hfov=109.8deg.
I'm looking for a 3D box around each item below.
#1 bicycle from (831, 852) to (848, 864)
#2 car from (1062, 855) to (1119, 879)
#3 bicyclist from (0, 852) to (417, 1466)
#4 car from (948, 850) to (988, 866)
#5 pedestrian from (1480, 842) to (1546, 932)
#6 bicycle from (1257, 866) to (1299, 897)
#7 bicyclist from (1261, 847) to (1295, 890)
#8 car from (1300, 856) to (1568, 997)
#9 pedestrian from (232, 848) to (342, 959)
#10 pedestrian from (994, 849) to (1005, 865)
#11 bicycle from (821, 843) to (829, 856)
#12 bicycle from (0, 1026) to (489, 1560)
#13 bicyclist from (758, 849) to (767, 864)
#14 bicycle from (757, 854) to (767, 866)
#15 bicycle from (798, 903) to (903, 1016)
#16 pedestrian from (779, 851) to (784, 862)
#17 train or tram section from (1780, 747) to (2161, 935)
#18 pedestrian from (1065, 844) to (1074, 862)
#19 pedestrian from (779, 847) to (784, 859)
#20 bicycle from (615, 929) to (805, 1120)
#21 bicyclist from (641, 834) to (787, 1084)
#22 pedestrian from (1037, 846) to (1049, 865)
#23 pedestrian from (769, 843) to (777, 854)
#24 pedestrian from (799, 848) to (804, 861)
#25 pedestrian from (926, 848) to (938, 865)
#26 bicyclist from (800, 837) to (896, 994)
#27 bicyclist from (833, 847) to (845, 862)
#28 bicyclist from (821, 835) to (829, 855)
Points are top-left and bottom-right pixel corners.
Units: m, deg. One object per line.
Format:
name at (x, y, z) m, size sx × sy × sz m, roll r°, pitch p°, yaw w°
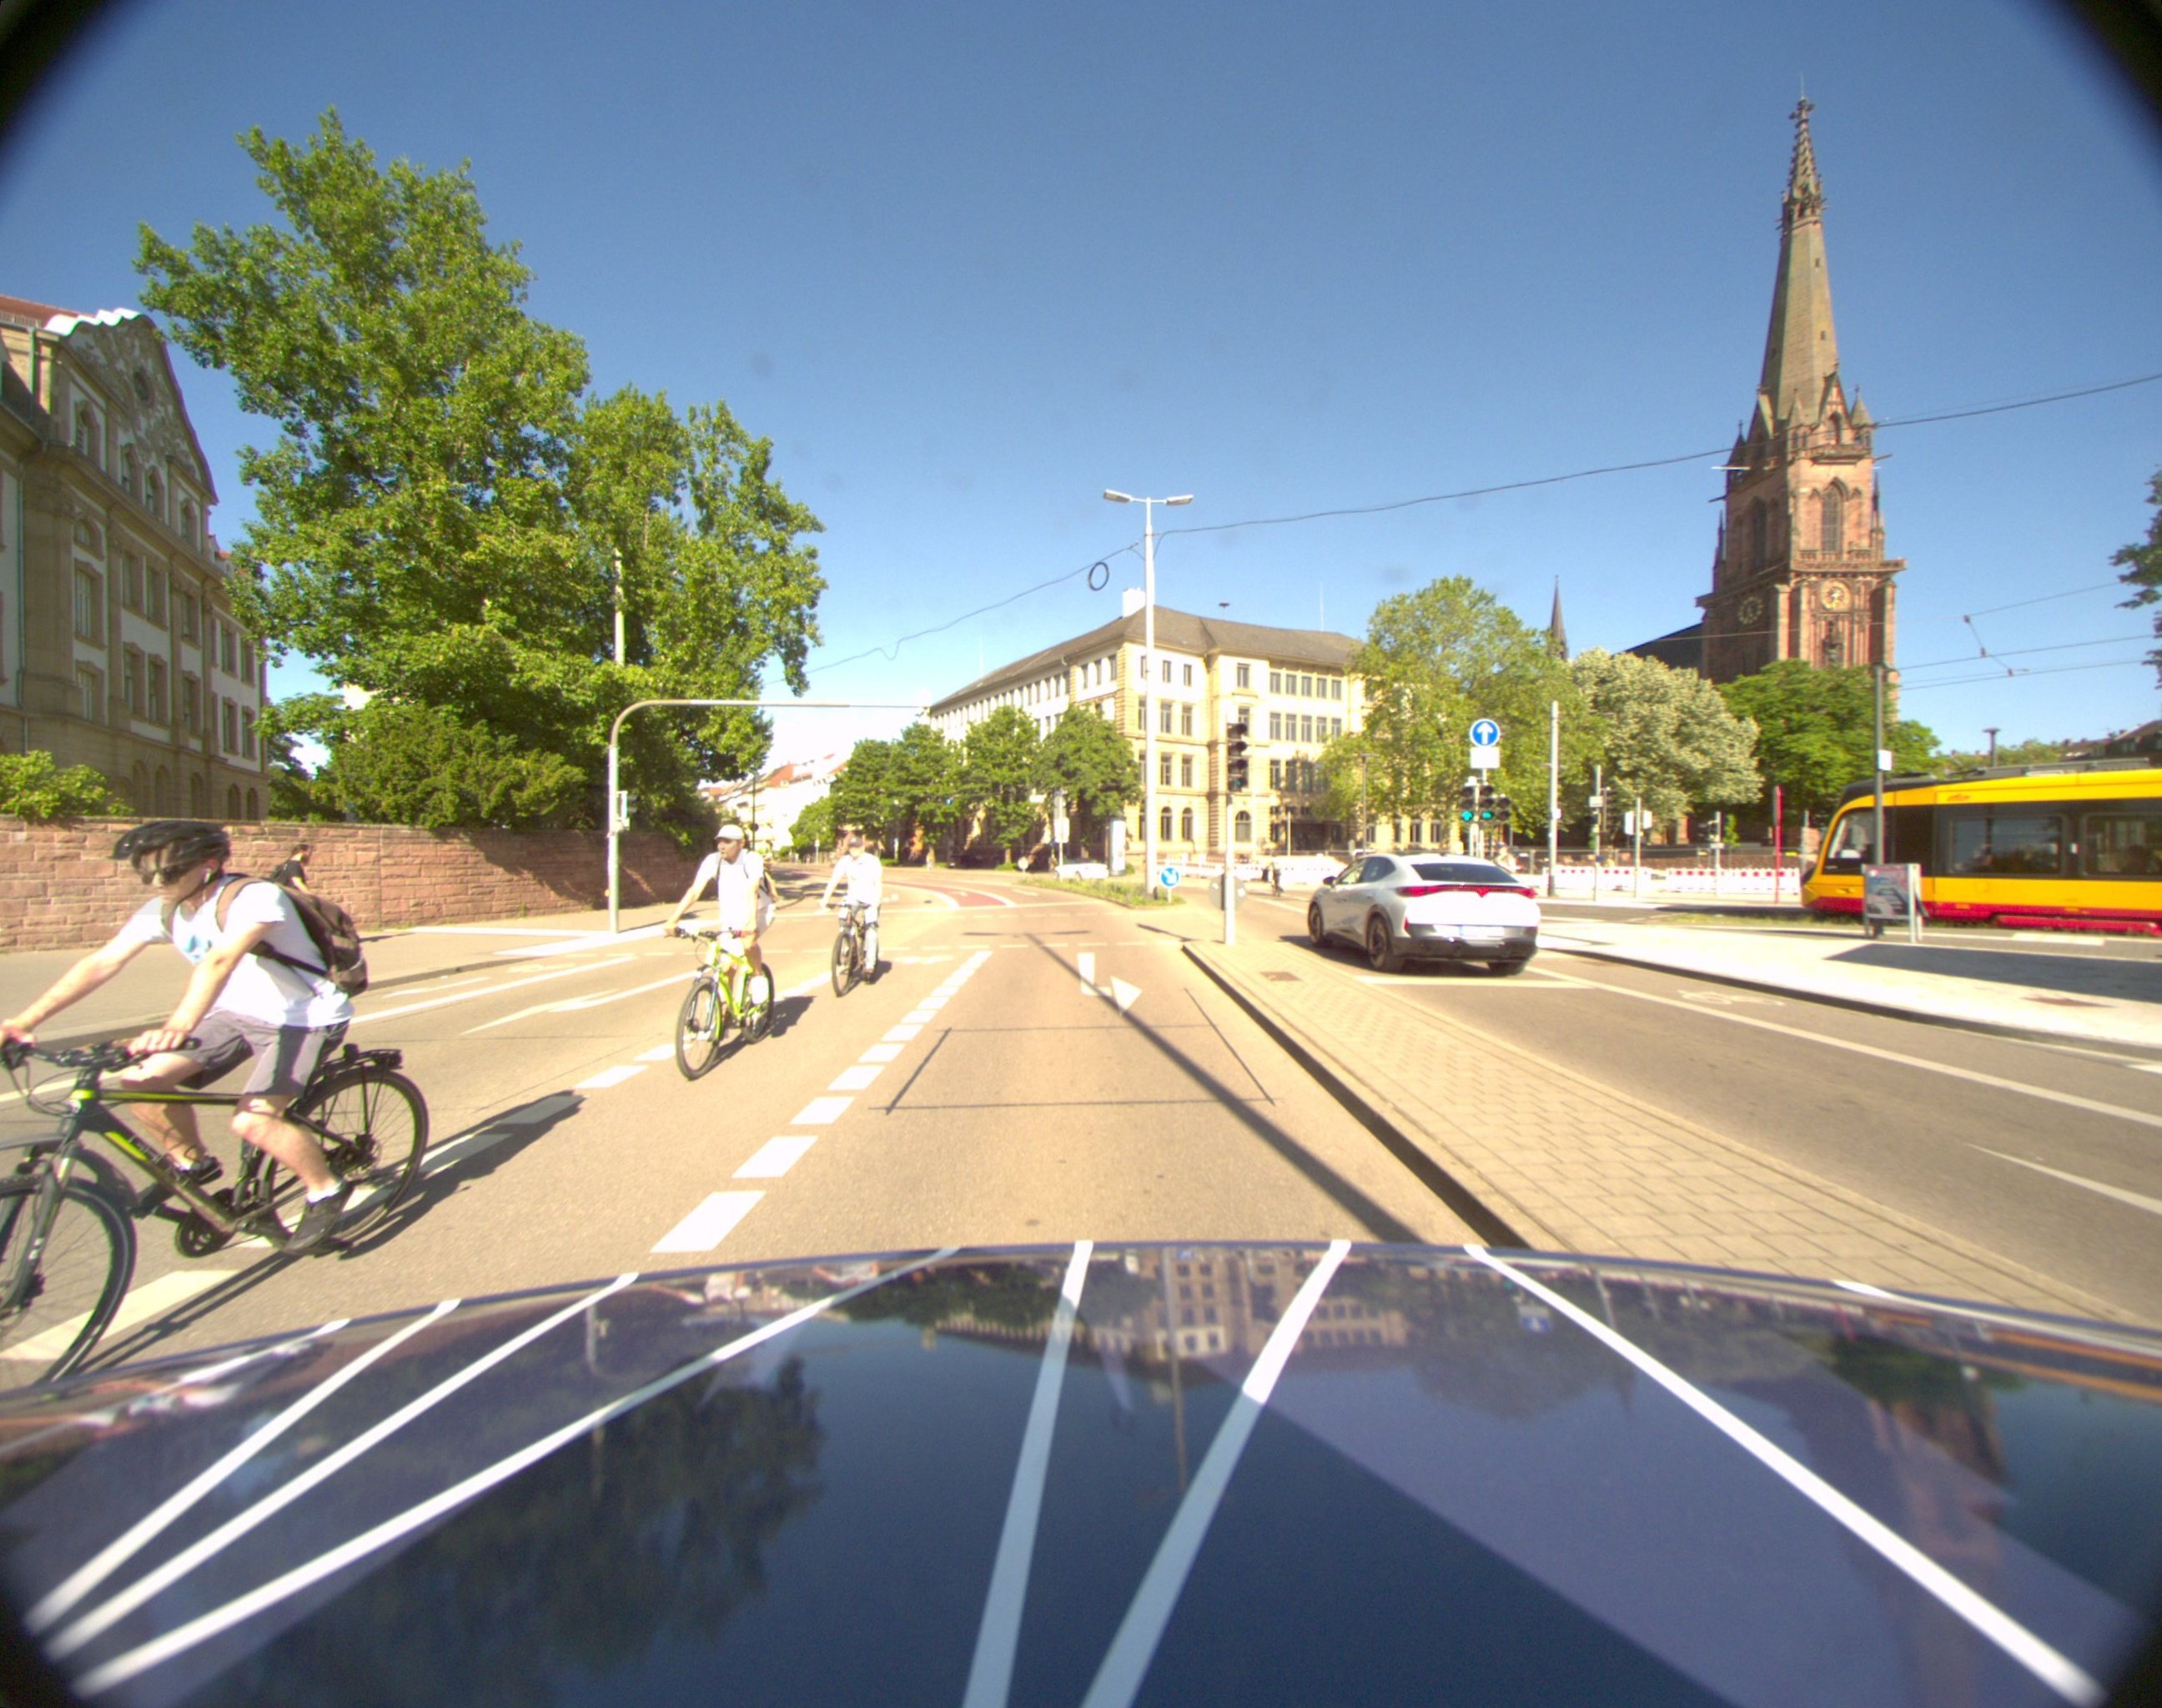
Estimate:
bicycle at (-25.772, 0.413, 81.048) m, size 0.743 × 1.145 × 1.602 m, roll 1°, pitch 3°, yaw 36°
car at (0.511, 0.744, 45.490) m, size 1.808 × 1.385 × 4.084 m, roll -1°, pitch 1°, yaw -25°
bicyclist at (-3.068, 0.815, 2.525) m, size 0.723 × 1.616 × 1.055 m, roll -1°, pitch 1°, yaw 0°
car at (-11.426, 0.369, 77.253) m, size 1.916 × 1.565 × 4.118 m, roll 1°, pitch 1°, yaw 29°
pedestrian at (9.179, 0.689, 16.158) m, size 0.902 × 1.839 × 0.763 m, roll -1°, pitch -1°, yaw -14°
bicycle at (7.639, 1.045, 29.544) m, size 0.776 × 1.074 × 2.033 m, roll 0°, pitch 1°, yaw -10°
bicyclist at (7.658, 0.536, 29.534) m, size 0.883 × 1.635 × 1.059 m, roll 0°, pitch 1°, yaw -10°
car at (4.696, 0.844, 10.918) m, size 1.823 × 1.559 × 4.249 m, roll 2°, pitch 0°, yaw 0°
pedestrian at (-13.600, 0.810, 13.053) m, size 0.759 × 1.822 × 1.050 m, roll 1°, pitch 1°, yaw 6°
pedestrian at (-8.407, 0.276, 78.546) m, size 0.674 × 1.558 × 0.856 m, roll -6°, pitch 5°, yaw -38°
bicycle at (-38.484, -0.706, 114.264) m, size 1.005 × 1.877 × 3.887 m, roll -1°, pitch 2°, yaw -16°
bicycle at (-3.047, 1.272, 2.468) m, size 0.724 × 0.954 × 1.883 m, roll -2°, pitch 1°, yaw 0°
bicyclist at (-30.784, 0.244, 73.371) m, size 0.666 × 1.453 × 0.621 m, roll -2°, pitch 3°, yaw -30°
bicycle at (-30.791, 0.580, 73.402) m, size 0.666 × 1.146 × 1.667 m, roll -2°, pitch 3°, yaw -30°
bicycle at (-2.712, 1.204, 9.137) m, size 0.612 × 1.071 × 1.830 m, roll -1°, pitch 1°, yaw 3°
pedestrian at (-48.360, 0.380, 122.700) m, size 0.730 × 1.845 × 0.652 m, roll -1°, pitch 1°, yaw -32°
train or tram section at (21.191, -0.243, 15.024) m, size 2.832 × 3.487 × 10.450 m, roll 0°, pitch 1°, yaw -36°
pedestrian at (-1.000, -0.082, 65.441) m, size 0.580 × 1.553 × 0.652 m, roll -1°, pitch 1°, yaw -34°
pedestrian at (-48.402, -0.129, 122.661) m, size 0.580 × 1.845 × 0.683 m, roll -1°, pitch 1°, yaw -34°
bicycle at (-2.760, 1.202, 5.902) m, size 0.664 × 1.041 × 1.889 m, roll 0°, pitch 1°, yaw -5°
bicyclist at (-2.754, 0.727, 5.805) m, size 0.665 × 1.737 × 1.005 m, roll 0°, pitch 1°, yaw -5°
pedestrian at (-3.575, 0.142, 71.208) m, size 0.731 × 1.660 × 0.844 m, roll -1°, pitch 4°, yaw -32°
pedestrian at (-49.044, -0.828, 120.922) m, size 0.677 × 1.728 × 0.933 m, roll 1°, pitch 1°, yaw 37°
pedestrian at (-42.492, 0.080, 115.507) m, size 0.580 × 1.845 × 0.683 m, roll -1°, pitch 1°, yaw -34°
pedestrian at (-15.241, 0.259, 77.684) m, size 0.773 × 1.658 × 1.031 m, roll 2°, pitch -4°, yaw -38°
bicyclist at (-2.740, 0.686, 9.032) m, size 0.751 × 1.765 × 1.014 m, roll -1°, pitch 1°, yaw 3°
bicyclist at (-25.814, 0.004, 80.978) m, size 0.743 × 1.574 × 0.881 m, roll 1°, pitch 3°, yaw 35°
bicyclist at (-38.551, -1.401, 114.398) m, size 1.005 × 2.959 × 1.471 m, roll -2°, pitch 3°, yaw -17°
